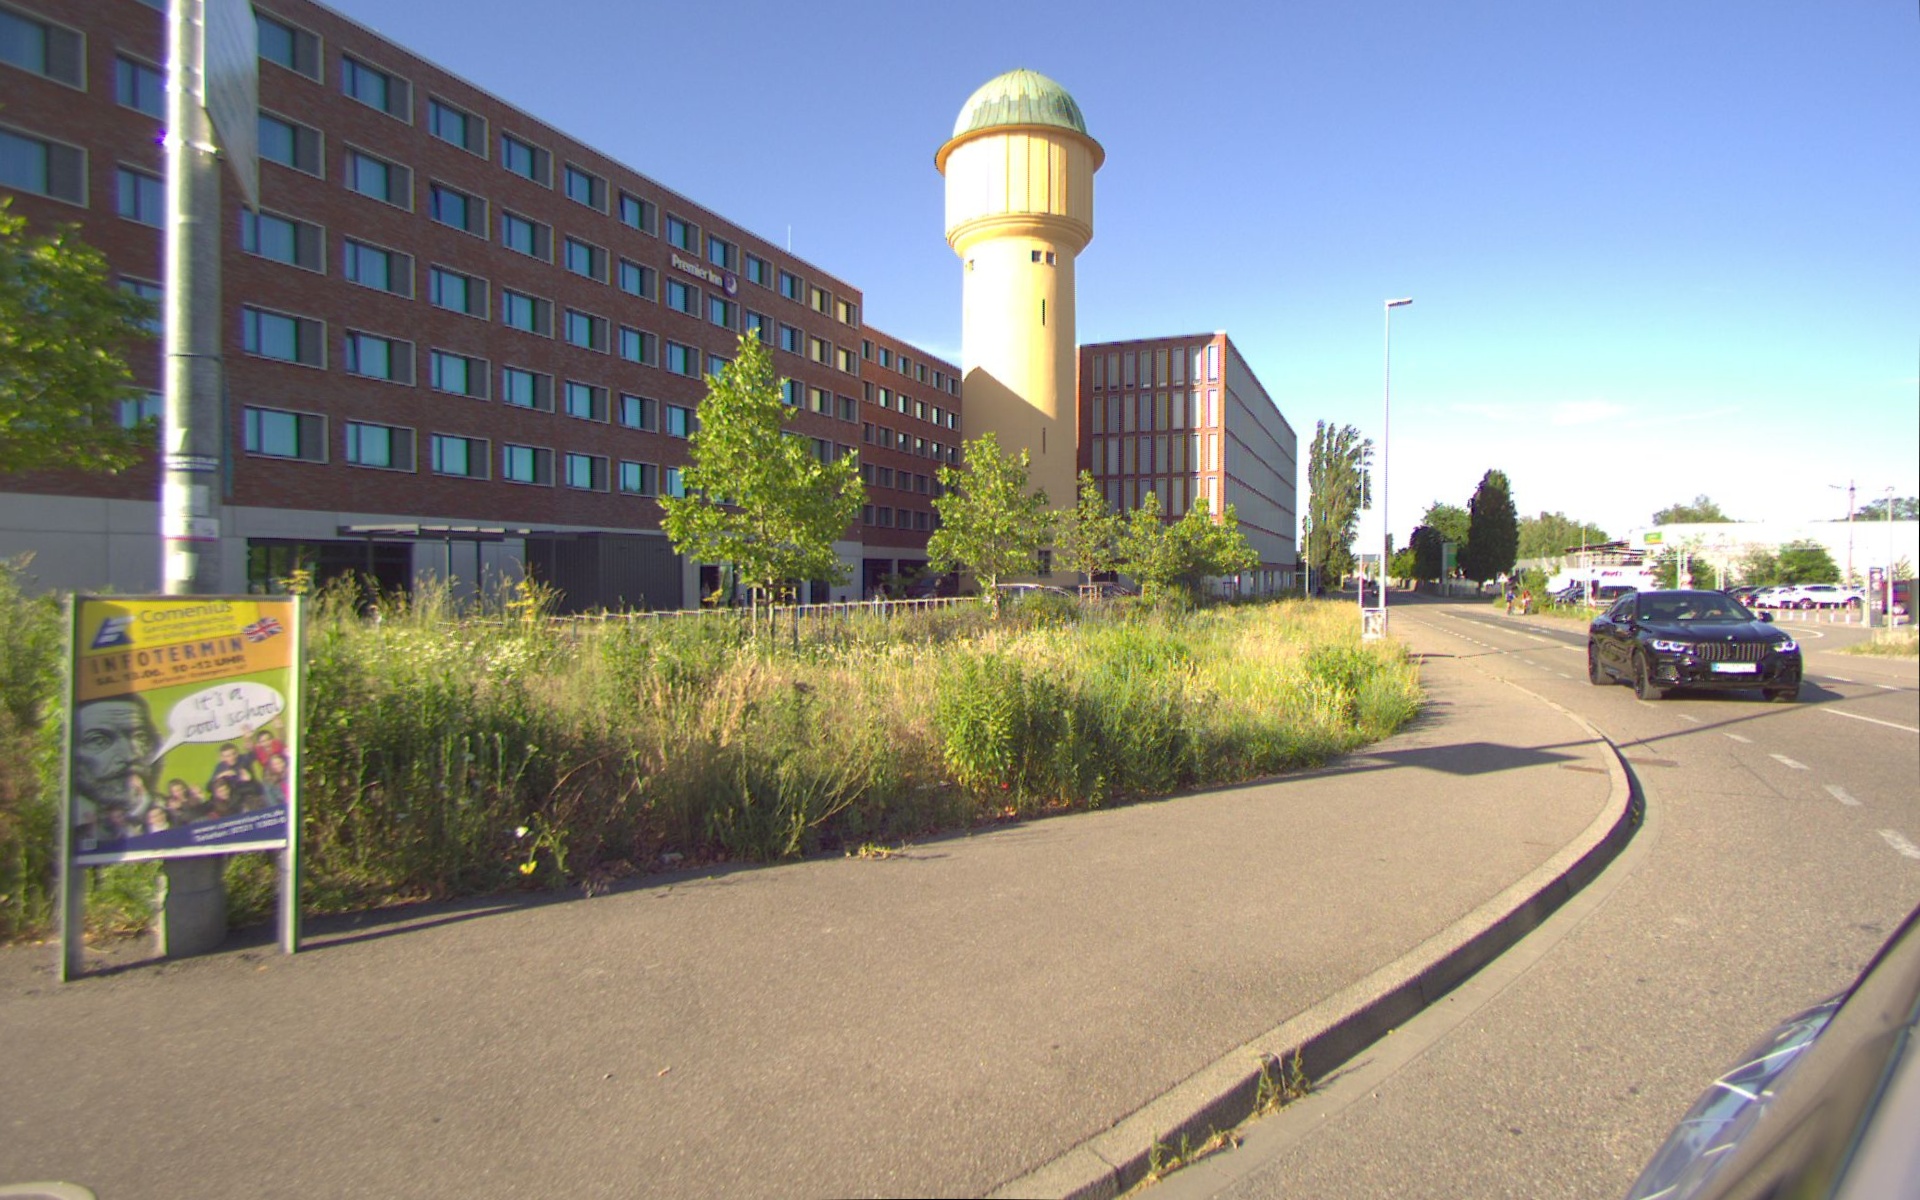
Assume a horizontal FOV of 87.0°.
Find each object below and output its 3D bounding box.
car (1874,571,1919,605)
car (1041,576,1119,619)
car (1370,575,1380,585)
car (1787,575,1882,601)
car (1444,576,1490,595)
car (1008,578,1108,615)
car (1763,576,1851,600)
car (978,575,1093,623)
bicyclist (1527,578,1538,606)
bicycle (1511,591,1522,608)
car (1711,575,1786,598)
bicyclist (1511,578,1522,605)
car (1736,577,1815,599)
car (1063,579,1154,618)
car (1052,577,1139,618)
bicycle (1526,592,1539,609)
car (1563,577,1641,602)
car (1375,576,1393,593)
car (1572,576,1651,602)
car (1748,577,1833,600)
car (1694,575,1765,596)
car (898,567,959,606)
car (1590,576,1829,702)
[{"bbox_3d":[51.856,-0.679,53.821,4.405,1.799,1.851,-1,0,29],"label":"car"},{"bbox_3d":[5.834,-0.134,49.188,3.445,2.047,1.822,0,1,23],"label":"car"},{"bbox_3d":[90.169,-4.369,219.858,1.976,2.039,3.972,0,1,21],"label":"car"},{"bbox_3d":[56.280,-0.746,65.216,4.241,1.566,1.817,-1,0,18],"label":"car"},{"bbox_3d":[72.432,-2.090,144.565,5.706,2.736,1.985,0,0,22],"label":"car"},{"bbox_3d":[4.254,-0.173,44.041,3.959,1.569,1.818,0,1,26],"label":"car"},{"bbox_3d":[56.517,-0.767,67.604,4.103,1.504,1.752,-1,0,18],"label":"car"},{"bbox_3d":[3.068,-0.071,41.141,4.283,1.851,1.985,0,1,23],"label":"car"},{"bbox_3d":[38.224,-0.549,67.566,0.562,1.895,0.847,0,0,21],"label":"bicyclist"},{"bbox_3d":[38.349,-0.039,69.768,0.497,1.138,1.554,-1,0,22],"label":"bicycle"},{"bbox_3d":[60.686,-1.031,77.916,4.241,1.645,1.785,-1,0,2],"label":"car"},{"bbox_3d":[38.345,-0.591,69.741,0.562,1.895,0.847,0,0,21],"label":"bicyclist"},{"bbox_3d":[58.375,-0.858,72.507,3.958,1.506,1.756,-1,0,18],"label":"car"},{"bbox_3d":[7.916,-0.108,53.946,4.483,2.039,1.984,0,1,24],"label":"car"},{"bbox_3d":[6.821,-0.168,51.059,3.959,2.005,1.982,0,1,26],"label":"car"},{"bbox_3d":[38.252,0.015,67.648,0.552,1.078,1.711,-1,0,22],"label":"bicycle"},{"bbox_3d":[49.265,-0.814,77.770,4.758,1.822,1.986,0,1,22],"label":"car"},{"bbox_3d":[53.949,-1.988,128.676,1.976,2.039,3.972,0,1,21],"label":"car"},{"bbox_3d":[48.340,-0.807,75.194,4.599,1.763,1.790,-1,0,21],"label":"car"},{"bbox_3d":[57.347,-0.811,69.959,4.101,1.506,1.756,-1,0,18],"label":"car"},{"bbox_3d":[61.174,-1.144,80.464,4.225,1.629,1.743,-1,0,2],"label":"car"},{"bbox_3d":[-1.859,-0.822,61.246,1.847,2.292,4.901,0,1,23],"label":"car"},{"bbox_3d":[11.923,0.507,16.513,2.025,1.736,4.715,-1,1,23],"label":"car"}]
